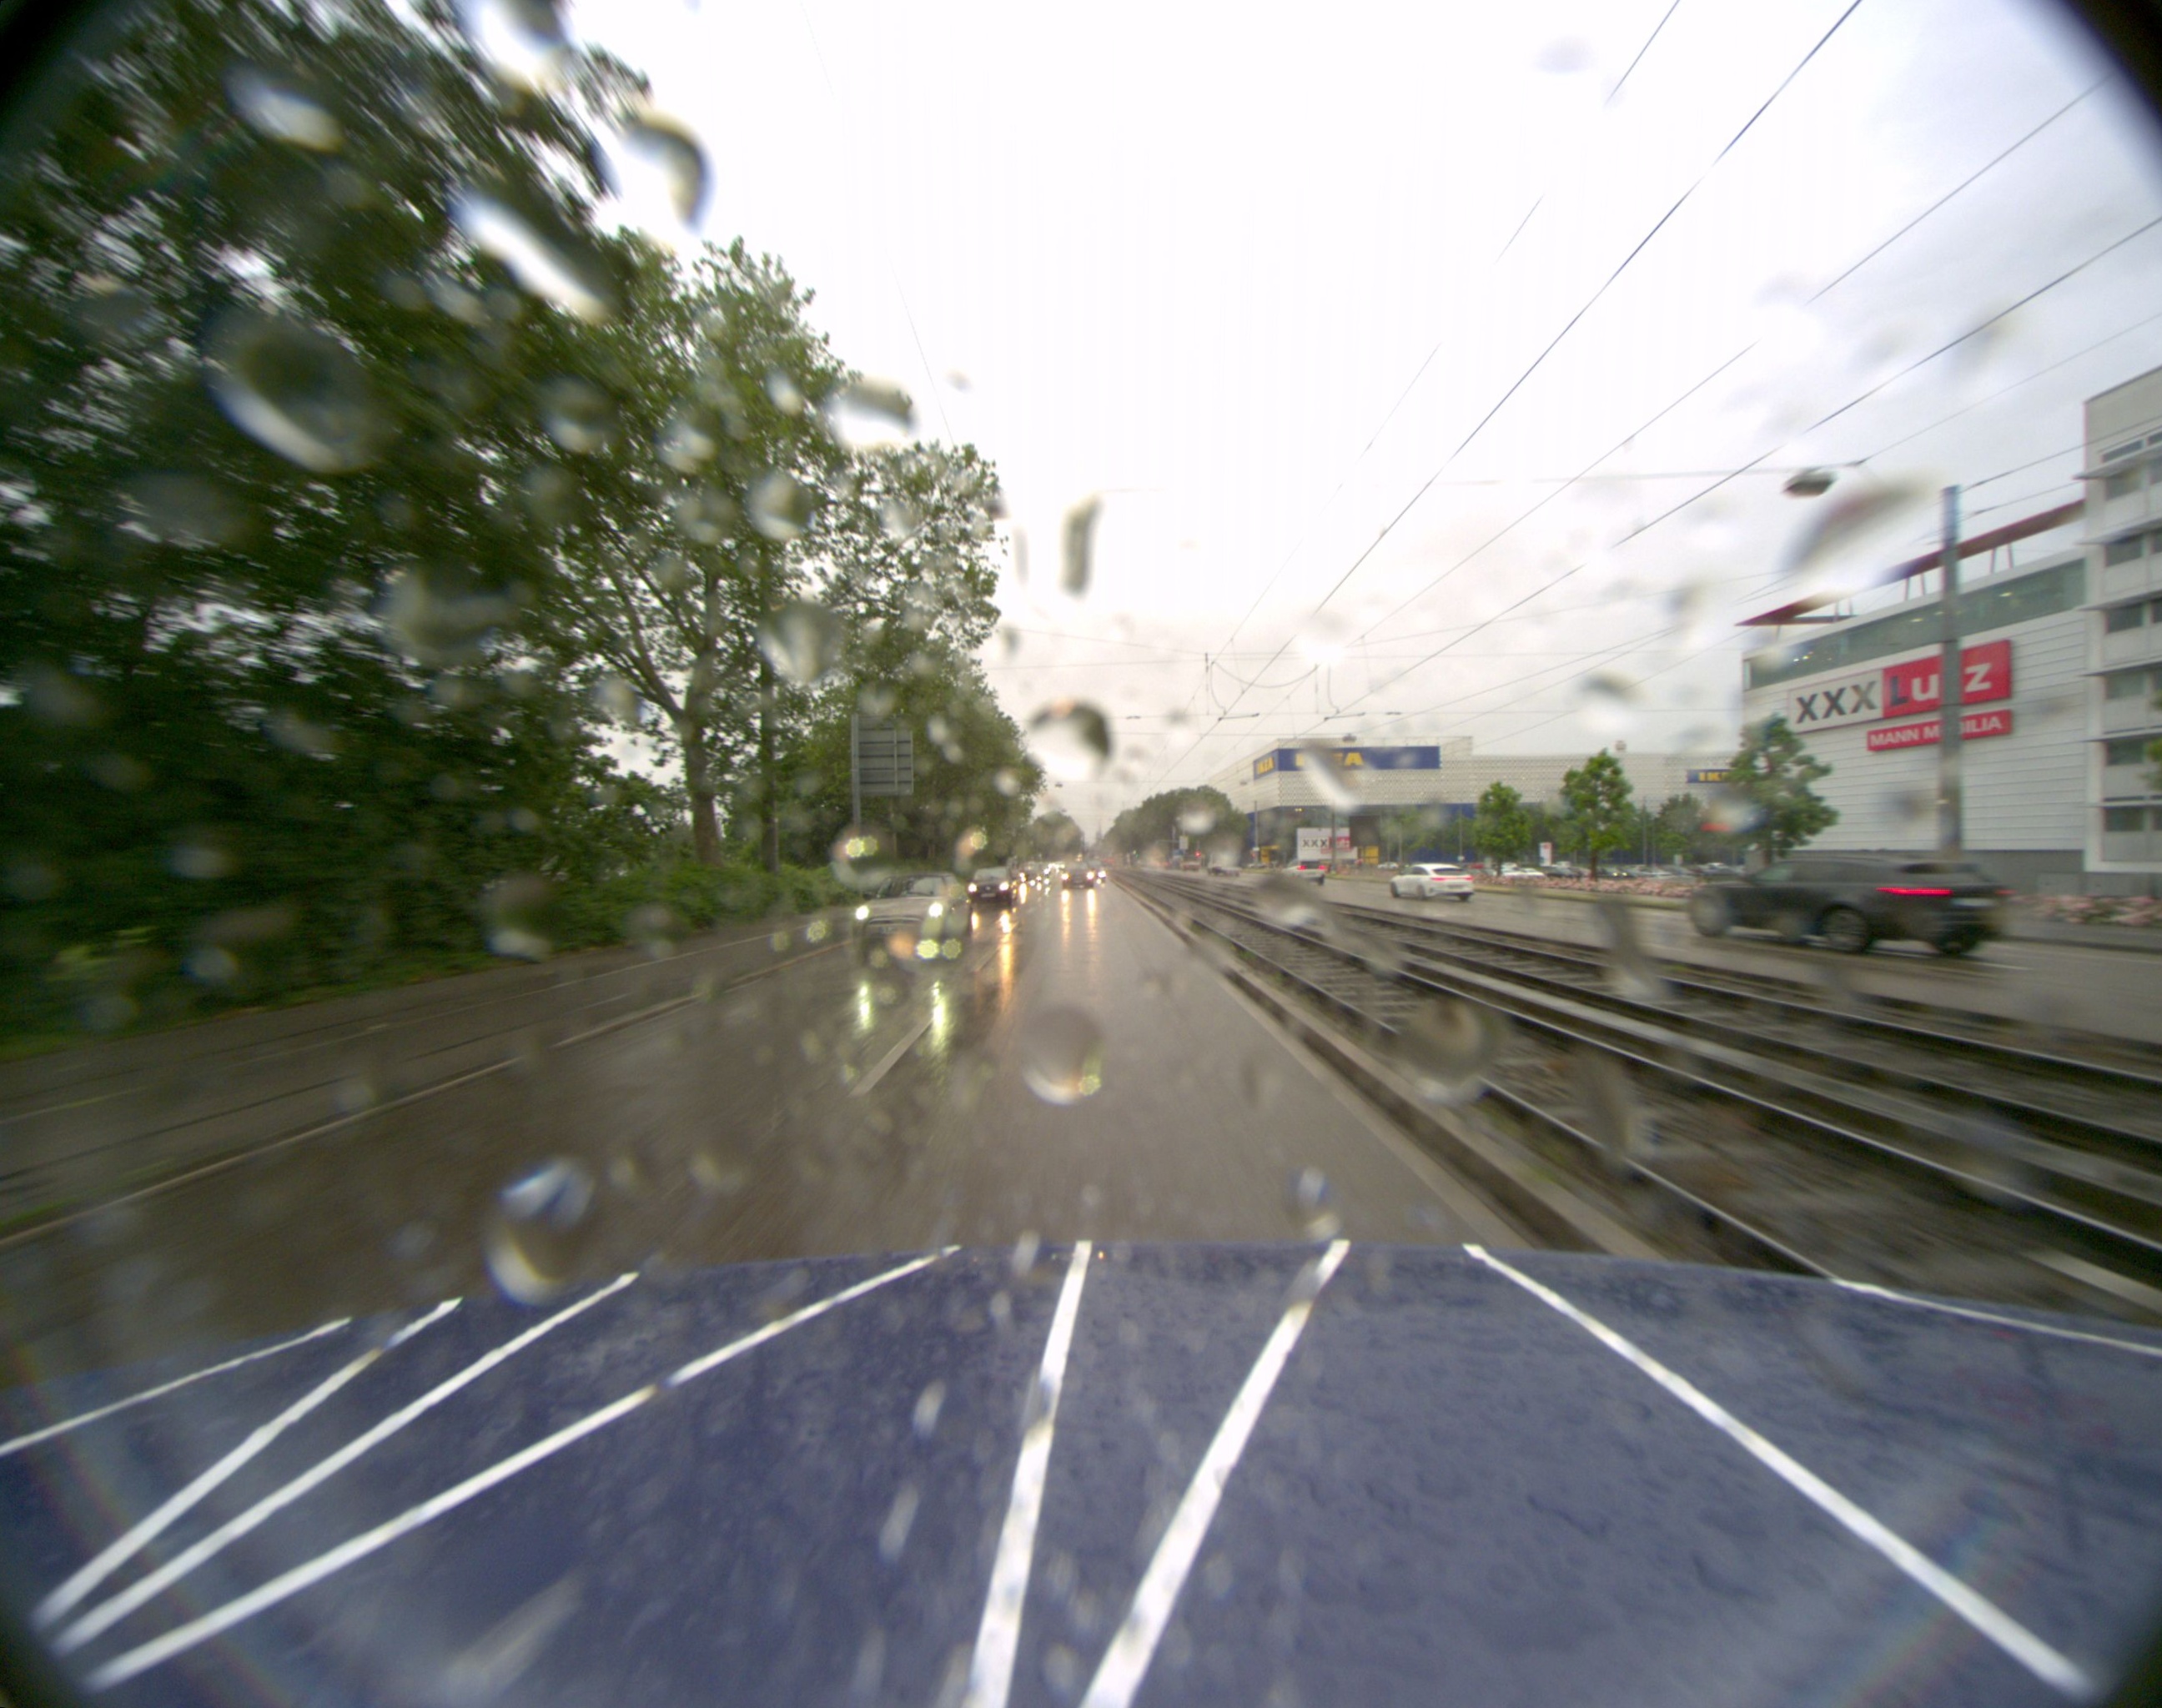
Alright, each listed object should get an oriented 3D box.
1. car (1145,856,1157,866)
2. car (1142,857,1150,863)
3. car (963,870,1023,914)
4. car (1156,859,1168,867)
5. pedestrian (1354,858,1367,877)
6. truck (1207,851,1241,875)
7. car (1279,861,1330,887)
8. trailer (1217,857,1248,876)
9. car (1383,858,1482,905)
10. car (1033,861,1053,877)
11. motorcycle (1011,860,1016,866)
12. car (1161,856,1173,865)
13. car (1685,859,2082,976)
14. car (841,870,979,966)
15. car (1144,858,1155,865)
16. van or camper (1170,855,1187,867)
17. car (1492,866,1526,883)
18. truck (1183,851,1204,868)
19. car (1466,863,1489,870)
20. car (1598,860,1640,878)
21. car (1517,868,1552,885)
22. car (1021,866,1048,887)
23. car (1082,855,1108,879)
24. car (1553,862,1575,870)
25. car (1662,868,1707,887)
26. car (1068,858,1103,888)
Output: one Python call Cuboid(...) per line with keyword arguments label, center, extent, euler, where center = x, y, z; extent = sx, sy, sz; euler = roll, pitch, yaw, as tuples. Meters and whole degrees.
Cuboid(label="car", center=(12.513, 1.249, 136.104), extent=(1.823, 1.613, 4.536), euler=(-1, 0, 0))
Cuboid(label="car", center=(16.988, 1.596, 198.160), extent=(1.877, 1.564, 4.329), euler=(-3, -1, 2))
Cuboid(label="car", center=(-3.217, 1.363, 28.458), extent=(1.776, 1.453, 4.092), euler=(-3, -1, -2))
Cuboid(label="car", center=(16.566, 1.847, 156.008), extent=(1.968, 1.507, 4.554), euler=(1, 0, 0))
Cuboid(label="pedestrian", center=(27.919, 1.332, 75.845), extent=(0.824, 1.752, 1.050), euler=(-4, 1, 3))
Cuboid(label="truck", center=(15.134, 0.913, 80.927), extent=(2.441, 2.443, 7.219), euler=(0, 0, 2))
Cuboid(label="car", center=(14.324, 1.228, 48.954), extent=(1.998, 1.574, 4.766), euler=(0, 0, 2))
Cuboid(label="trailer", center=(14.958, 1.207, 75.264), extent=(2.124, 1.782, 3.836), euler=(-3, 0, 0))
Cuboid(label="car", center=(13.925, 1.021, 30.425), extent=(1.776, 1.673, 4.689), euler=(-1, 0, 0))
Cuboid(label="car", center=(-3.743, 1.483, 75.877), extent=(1.715, 1.515, 4.043), euler=(-3, -1, 0))
Cuboid(label="motorcycle", center=(-15.667, 2.109, 176.015), extent=(0.633, 1.211, 1.449), euler=(0, 0, 12))
Cuboid(label="car", center=(15.949, 1.214, 141.108), extent=(1.862, 1.608, 4.908), euler=(1, 0, 2))
Cuboid(label="car", center=(13.784, 0.954, 13.655), extent=(1.998, 1.711, 4.882), euler=(0, 0, 1))
Cuboid(label="car", center=(-3.096, 1.096, 14.570), extent=(1.796, 1.406, 3.853), euler=(-2, 1, -1))
Cuboid(label="car", center=(14.978, 1.633, 166.702), extent=(1.863, 1.485, 4.689), euler=(0, 0, 0))
Cuboid(label="van or camper", center=(16.580, 1.204, 129.299), extent=(2.310, 2.002, 5.686), euler=(0, 0, 2))
Cuboid(label="car", center=(56.950, 2.723, 101.154), extent=(1.999, 2.002, 4.090), euler=(-3, 0, -2))
Cuboid(label="truck", center=(16.150, 0.758, 109.434), extent=(2.232, 2.447, 6.067), euler=(1, 0, 1))
Cuboid(label="car", center=(85.612, 2.697, 163.994), extent=(3.982, 1.399, 1.602), euler=(-3, 1, 3))
Cuboid(label="car", center=(63.820, 1.747, 90.223), extent=(1.999, 2.002, 3.999), euler=(-3, 1, -2))
Cuboid(label="car", center=(60.051, 2.927, 100.690), extent=(1.999, 2.002, 4.090), euler=(-3, 0, -2))
Cuboid(label="car", center=(-3.567, 1.732, 58.769), extent=(1.715, 1.475, 4.043), euler=(-3, -1, 0))
Cuboid(label="car", center=(0.969, 0.940, 54.035), extent=(1.715, 1.515, 4.043), euler=(-3, -1, 0))
Cuboid(label="car", center=(103.967, 2.571, 163.567), extent=(3.821, 1.399, 1.602), euler=(-3, 1, 3))
Cuboid(label="car", center=(71.219, 2.732, 89.770), extent=(1.999, 2.002, 3.999), euler=(-3, 1, -2))
Cuboid(label="car", center=(0.198, 1.075, 44.223), extent=(1.877, 1.573, 4.043), euler=(-3, -1, -1))
